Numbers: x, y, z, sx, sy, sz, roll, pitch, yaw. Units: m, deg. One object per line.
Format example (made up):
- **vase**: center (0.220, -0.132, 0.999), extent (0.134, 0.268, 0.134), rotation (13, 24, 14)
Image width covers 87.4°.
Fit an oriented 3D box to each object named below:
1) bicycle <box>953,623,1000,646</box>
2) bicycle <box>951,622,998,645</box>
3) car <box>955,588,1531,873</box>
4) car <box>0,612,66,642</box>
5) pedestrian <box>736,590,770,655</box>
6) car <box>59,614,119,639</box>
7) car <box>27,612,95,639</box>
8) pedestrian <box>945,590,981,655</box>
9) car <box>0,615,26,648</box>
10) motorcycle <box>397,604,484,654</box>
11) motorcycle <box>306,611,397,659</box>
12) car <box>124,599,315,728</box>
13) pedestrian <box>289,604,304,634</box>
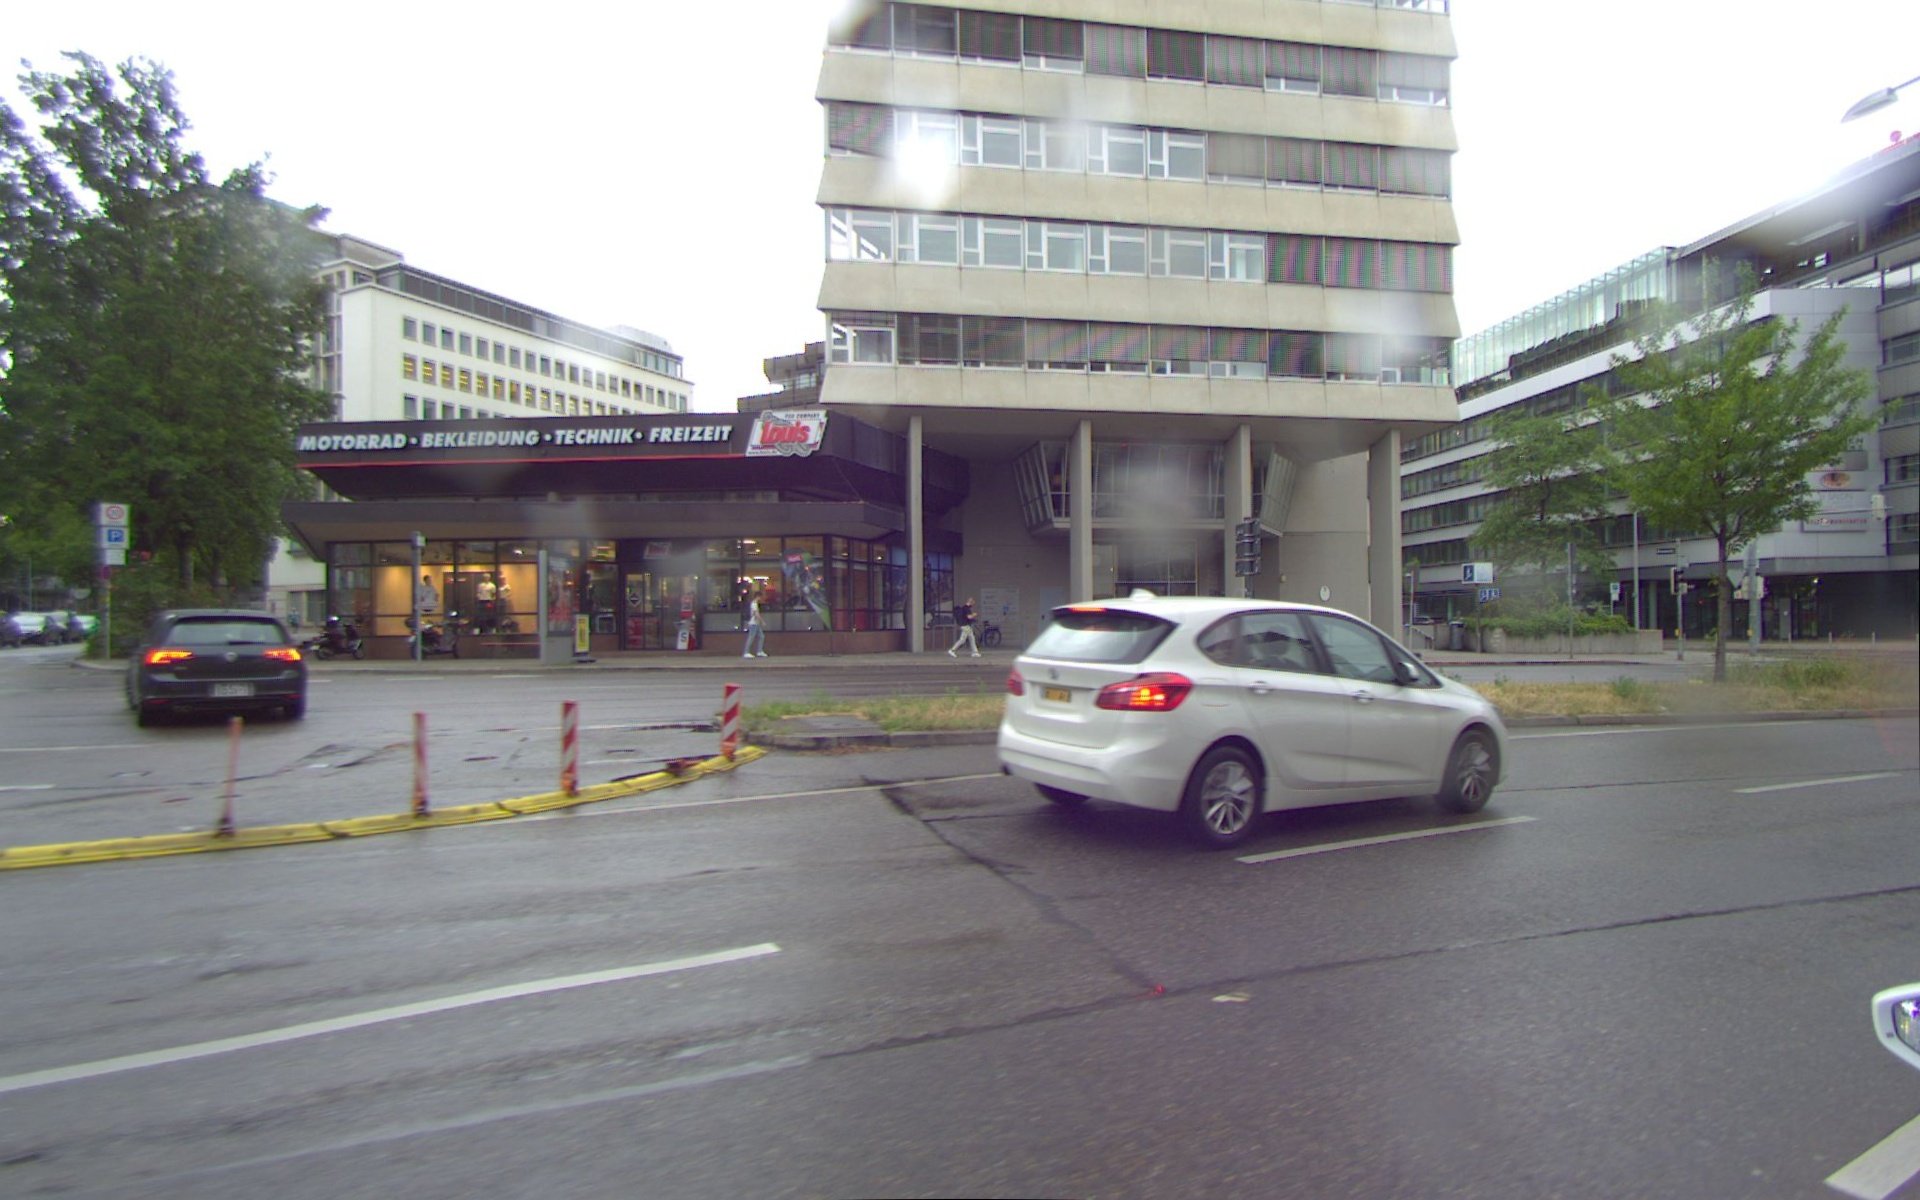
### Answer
- **bicycle**: center (0.620, 1.295, 37.989), extent (1.741, 0.823, 0.454), rotation (1, 0, -9)
- **bicycle**: center (0.542, 1.297, 38.575), extent (1.741, 0.823, 0.454), rotation (1, 0, -9)
- **car**: center (2.222, 0.771, 7.512), extent (4.240, 1.594, 1.774), rotation (1, -1, -32)
- **car**: center (-44.515, 1.280, 48.031), extent (1.825, 1.305, 3.968), rotation (1, 0, -29)
- **pedestrian**: center (-5.957, 0.643, 28.997), extent (0.908, 1.857, 0.818), rotation (1, 0, -10)
- **car**: center (-50.161, 1.538, 57.935), extent (1.825, 1.305, 3.968), rotation (1, 0, -29)
- **car**: center (-47.552, 1.341, 53.193), extent (1.825, 1.305, 3.968), rotation (1, 0, -29)
- **pedestrian**: center (0.094, 0.659, 29.597), extent (0.908, 1.857, 0.728), rotation (1, -1, -11)
- **car**: center (-41.853, 1.316, 43.065), extent (1.826, 1.305, 3.967), rotation (2, 0, -31)
- **motorcycle**: center (-15.349, 0.833, 29.799), extent (0.788, 1.392, 2.894), rotation (1, 0, 6)
- **motorcycle**: center (-18.267, 1.033, 30.262), extent (0.709, 1.351, 2.822), rotation (1, 0, 7)
- **car**: center (-10.315, 0.800, 13.926), extent (1.829, 1.470, 4.636), rotation (2, -2, -39)
- **pedestrian**: center (-43.682, 1.231, 66.132), extent (0.721, 1.948, 0.917), rotation (1, 0, -30)
